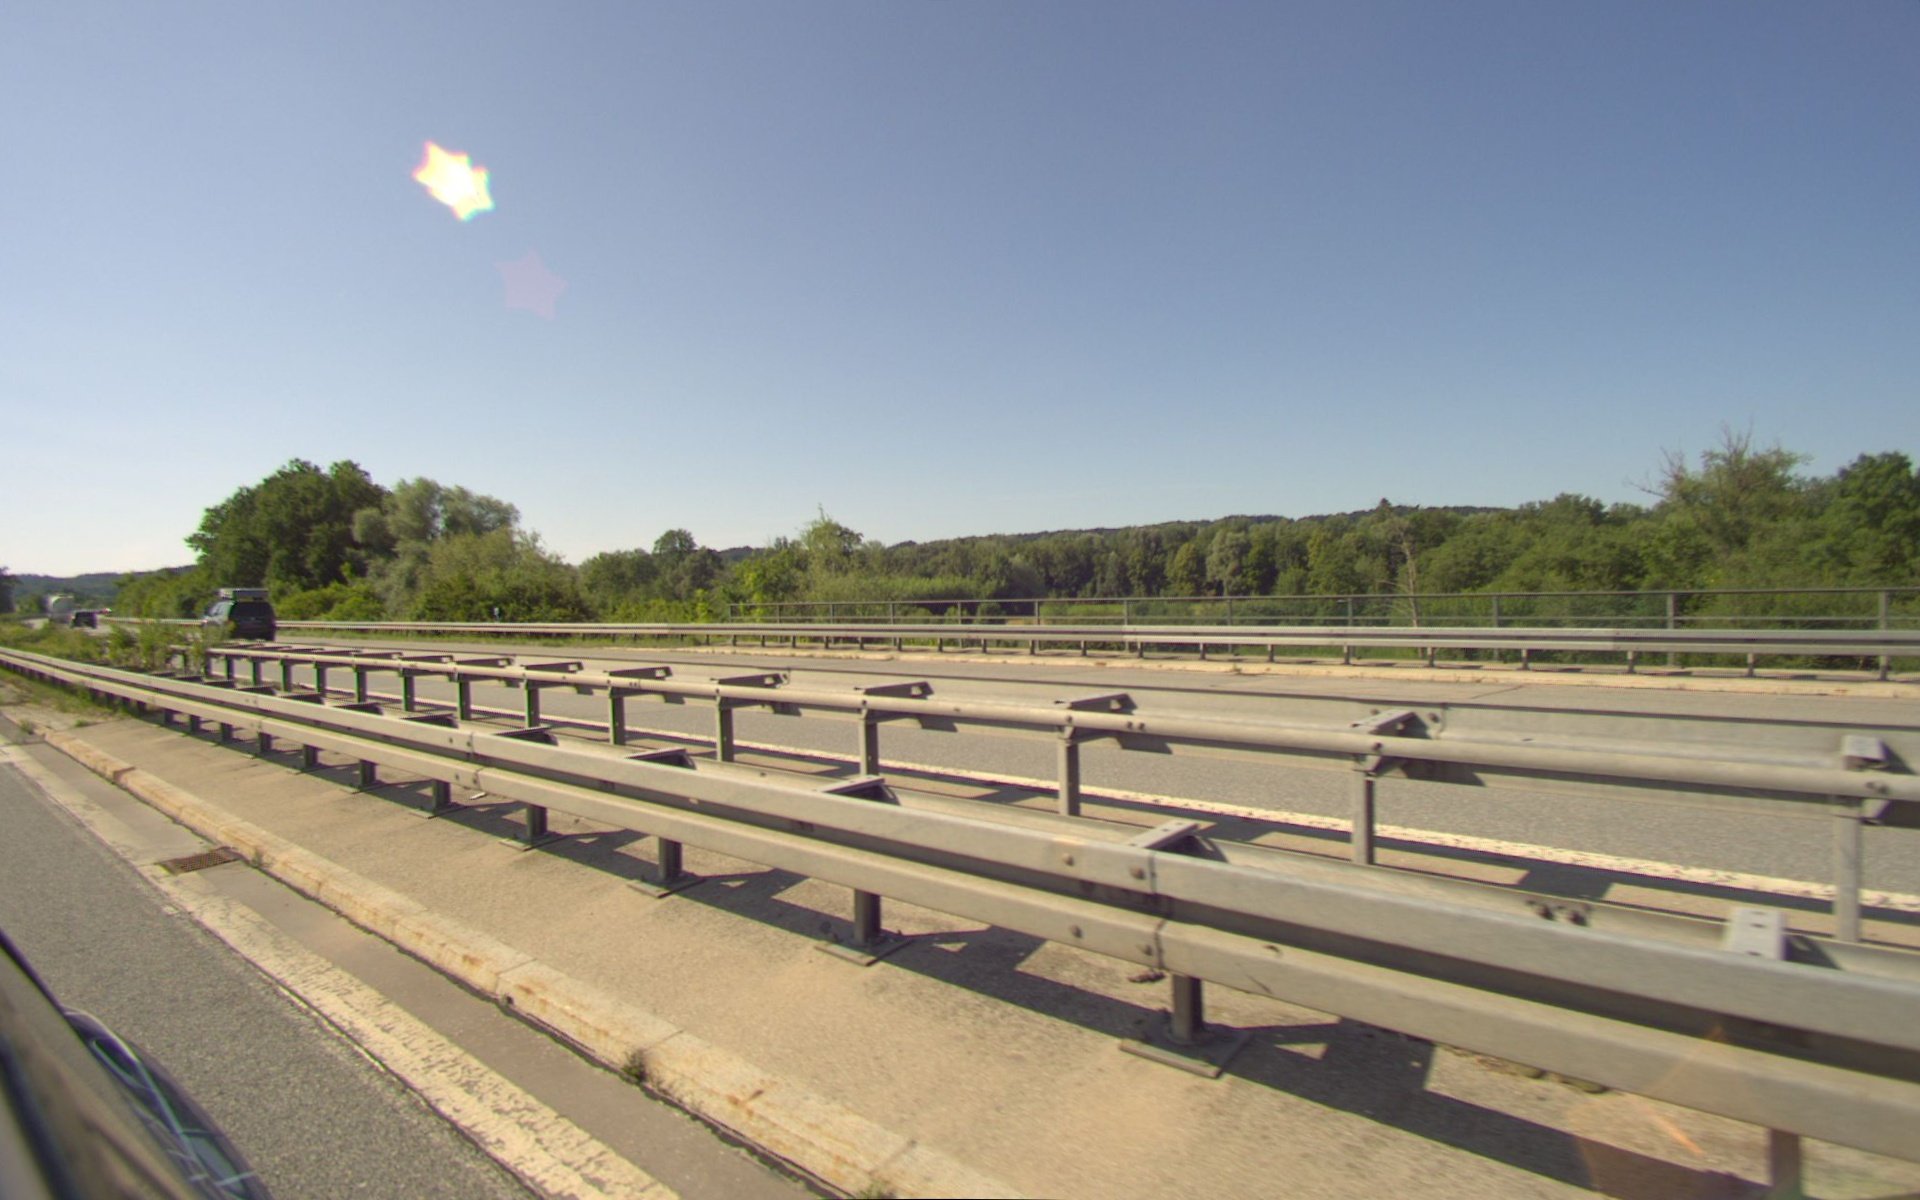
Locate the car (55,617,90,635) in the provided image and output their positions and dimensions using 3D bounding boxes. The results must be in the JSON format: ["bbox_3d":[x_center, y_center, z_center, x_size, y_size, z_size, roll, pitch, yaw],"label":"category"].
[{"bbox_3d":[-79.538,2.366,90.679,4.420,1.566,1.972,-1,-2,43],"label":"car"}]

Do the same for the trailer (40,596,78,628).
[{"bbox_3d":[-109.257,1.508,122.693,10.917,3.755,2.710,-1,-1,44],"label":"trailer"}]

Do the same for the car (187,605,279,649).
[{"bbox_3d":[-29.644,1.099,41.212,5.316,1.692,1.972,-2,-2,42],"label":"car"}]

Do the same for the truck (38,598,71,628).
[{"bbox_3d":[-113.527,1.632,126.900,5.974,3.755,2.710,-1,-1,44],"label":"truck"}]
